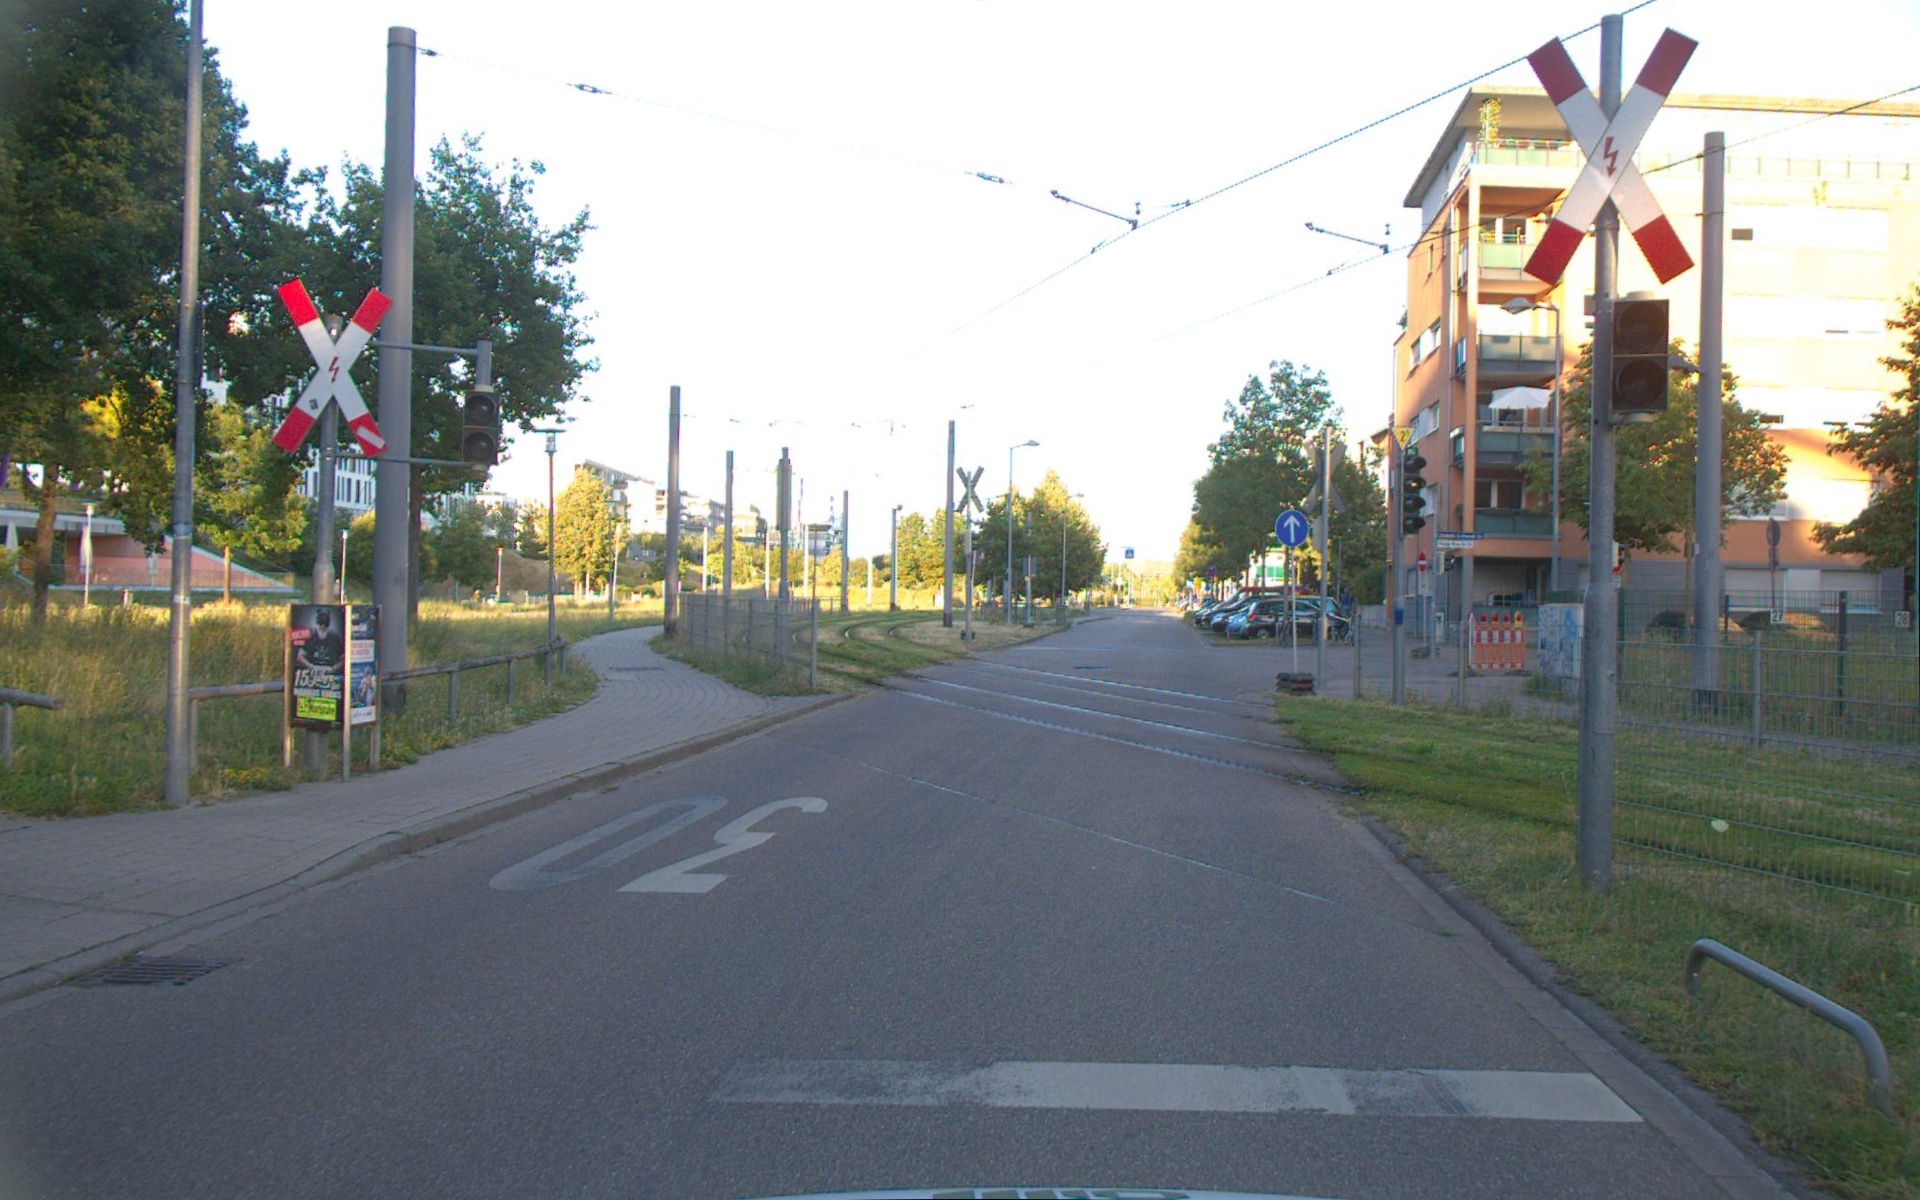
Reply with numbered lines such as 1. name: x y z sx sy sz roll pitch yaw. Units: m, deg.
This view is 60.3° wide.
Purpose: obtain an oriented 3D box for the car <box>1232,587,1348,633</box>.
1. car: 11.867 0.360 59.672 3.964 1.596 1.674 0 0 7

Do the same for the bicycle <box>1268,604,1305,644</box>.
1. bicycle: 10.389 0.746 52.650 0.702 1.172 1.897 -1 2 -3

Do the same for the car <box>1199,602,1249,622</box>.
1. car: 20.875 0.974 130.855 3.722 1.535 1.680 1 0 5

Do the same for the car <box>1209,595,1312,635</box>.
1. car: 12.603 0.641 69.568 4.126 1.596 1.794 -1 0 7

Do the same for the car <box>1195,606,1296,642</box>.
1. car: 13.404 1.137 77.950 4.570 1.584 1.812 1 0 6

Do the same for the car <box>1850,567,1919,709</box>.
1. car: 14.778 0.564 23.924 1.951 2.049 4.003 1 0 6

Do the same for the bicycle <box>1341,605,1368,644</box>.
1. bicycle: 12.618 0.781 52.914 0.518 1.146 1.964 2 2 5

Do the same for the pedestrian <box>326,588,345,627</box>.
1. pedestrian: -34.490 0.389 91.336 0.603 2.118 0.791 3 0 6

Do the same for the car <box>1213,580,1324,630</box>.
1. car: 13.900 0.202 74.723 4.815 2.154 2.018 1 0 8

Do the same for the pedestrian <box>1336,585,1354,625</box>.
1. pedestrian: 17.177 0.220 73.790 0.654 1.773 0.700 1 0 7

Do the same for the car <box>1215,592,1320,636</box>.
1. car: 11.588 0.515 62.494 3.794 1.596 1.621 1 0 7

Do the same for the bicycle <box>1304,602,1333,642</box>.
1. bicycle: 11.381 0.692 52.521 0.664 1.172 1.929 -1 1 5

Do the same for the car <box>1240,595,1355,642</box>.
1. car: 11.656 0.625 57.289 3.671 1.499 1.614 1 0 2
